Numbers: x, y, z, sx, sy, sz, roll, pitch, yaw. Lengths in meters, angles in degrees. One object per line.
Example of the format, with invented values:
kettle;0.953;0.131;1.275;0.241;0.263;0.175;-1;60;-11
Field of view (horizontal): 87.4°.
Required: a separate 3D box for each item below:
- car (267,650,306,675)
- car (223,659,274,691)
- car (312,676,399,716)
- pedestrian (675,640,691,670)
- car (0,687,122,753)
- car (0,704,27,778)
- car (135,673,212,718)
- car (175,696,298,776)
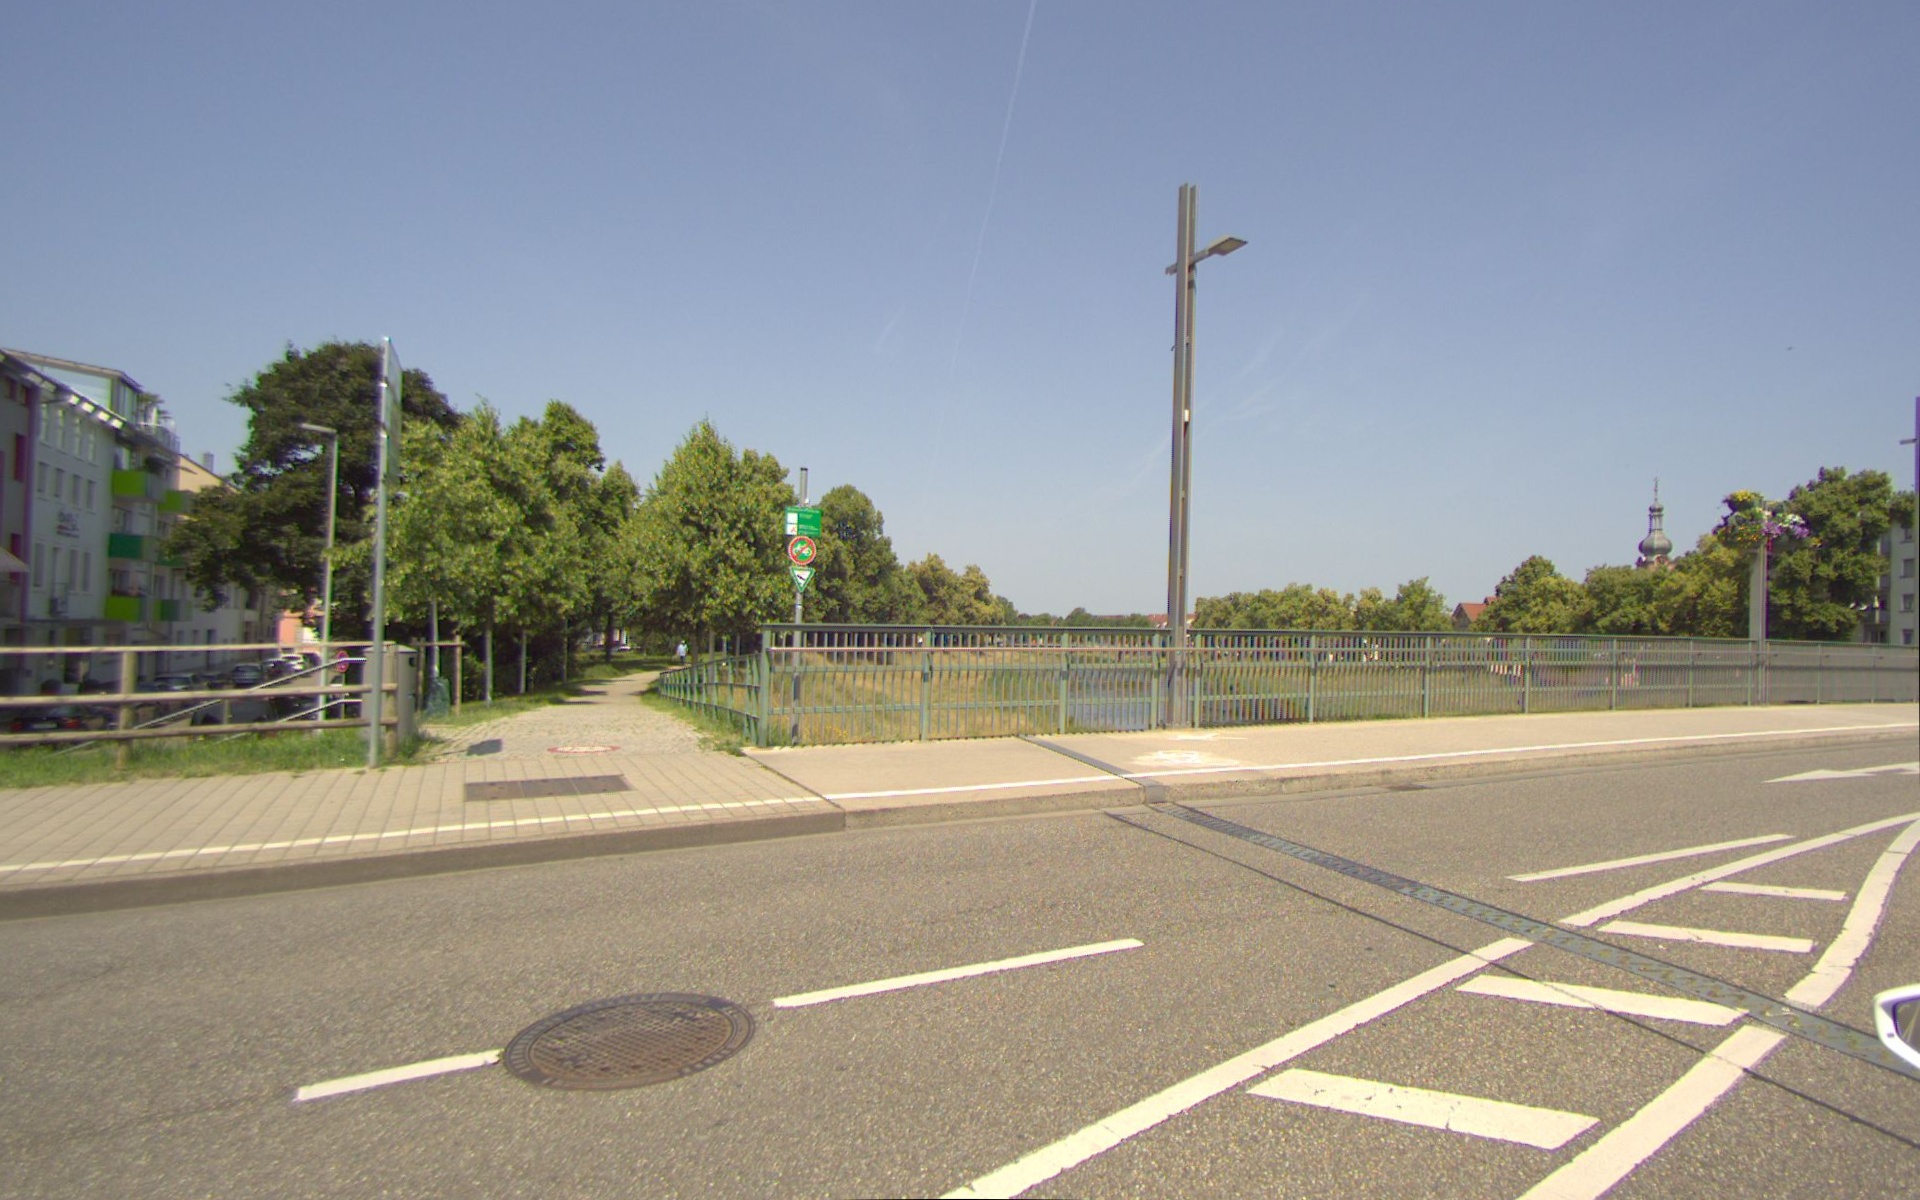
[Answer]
car;-48.219;4.464;71.983;1.976;1.671;3.970;1;-2;-29
car;-41.771;4.374;59.059;1.976;1.671;3.970;1;-2;-29
car;-28.045;4.407;46.745;1.963;1.671;3.996;0;-3;-7
pedestrian;-19.028;3.777;69.001;0.873;2.040;0.720;3;-1;-31
car;-26.804;3.517;29.988;1.976;1.671;3.971;1;-3;-29
car;-23.308;3.318;22.923;1.976;1.671;3.971;1;-3;-29
car;-34.181;4.100;43.771;1.976;1.671;3.970;1;-2;-29
car;-18.531;3.424;25.908;1.975;1.671;3.973;1;-3;-28
